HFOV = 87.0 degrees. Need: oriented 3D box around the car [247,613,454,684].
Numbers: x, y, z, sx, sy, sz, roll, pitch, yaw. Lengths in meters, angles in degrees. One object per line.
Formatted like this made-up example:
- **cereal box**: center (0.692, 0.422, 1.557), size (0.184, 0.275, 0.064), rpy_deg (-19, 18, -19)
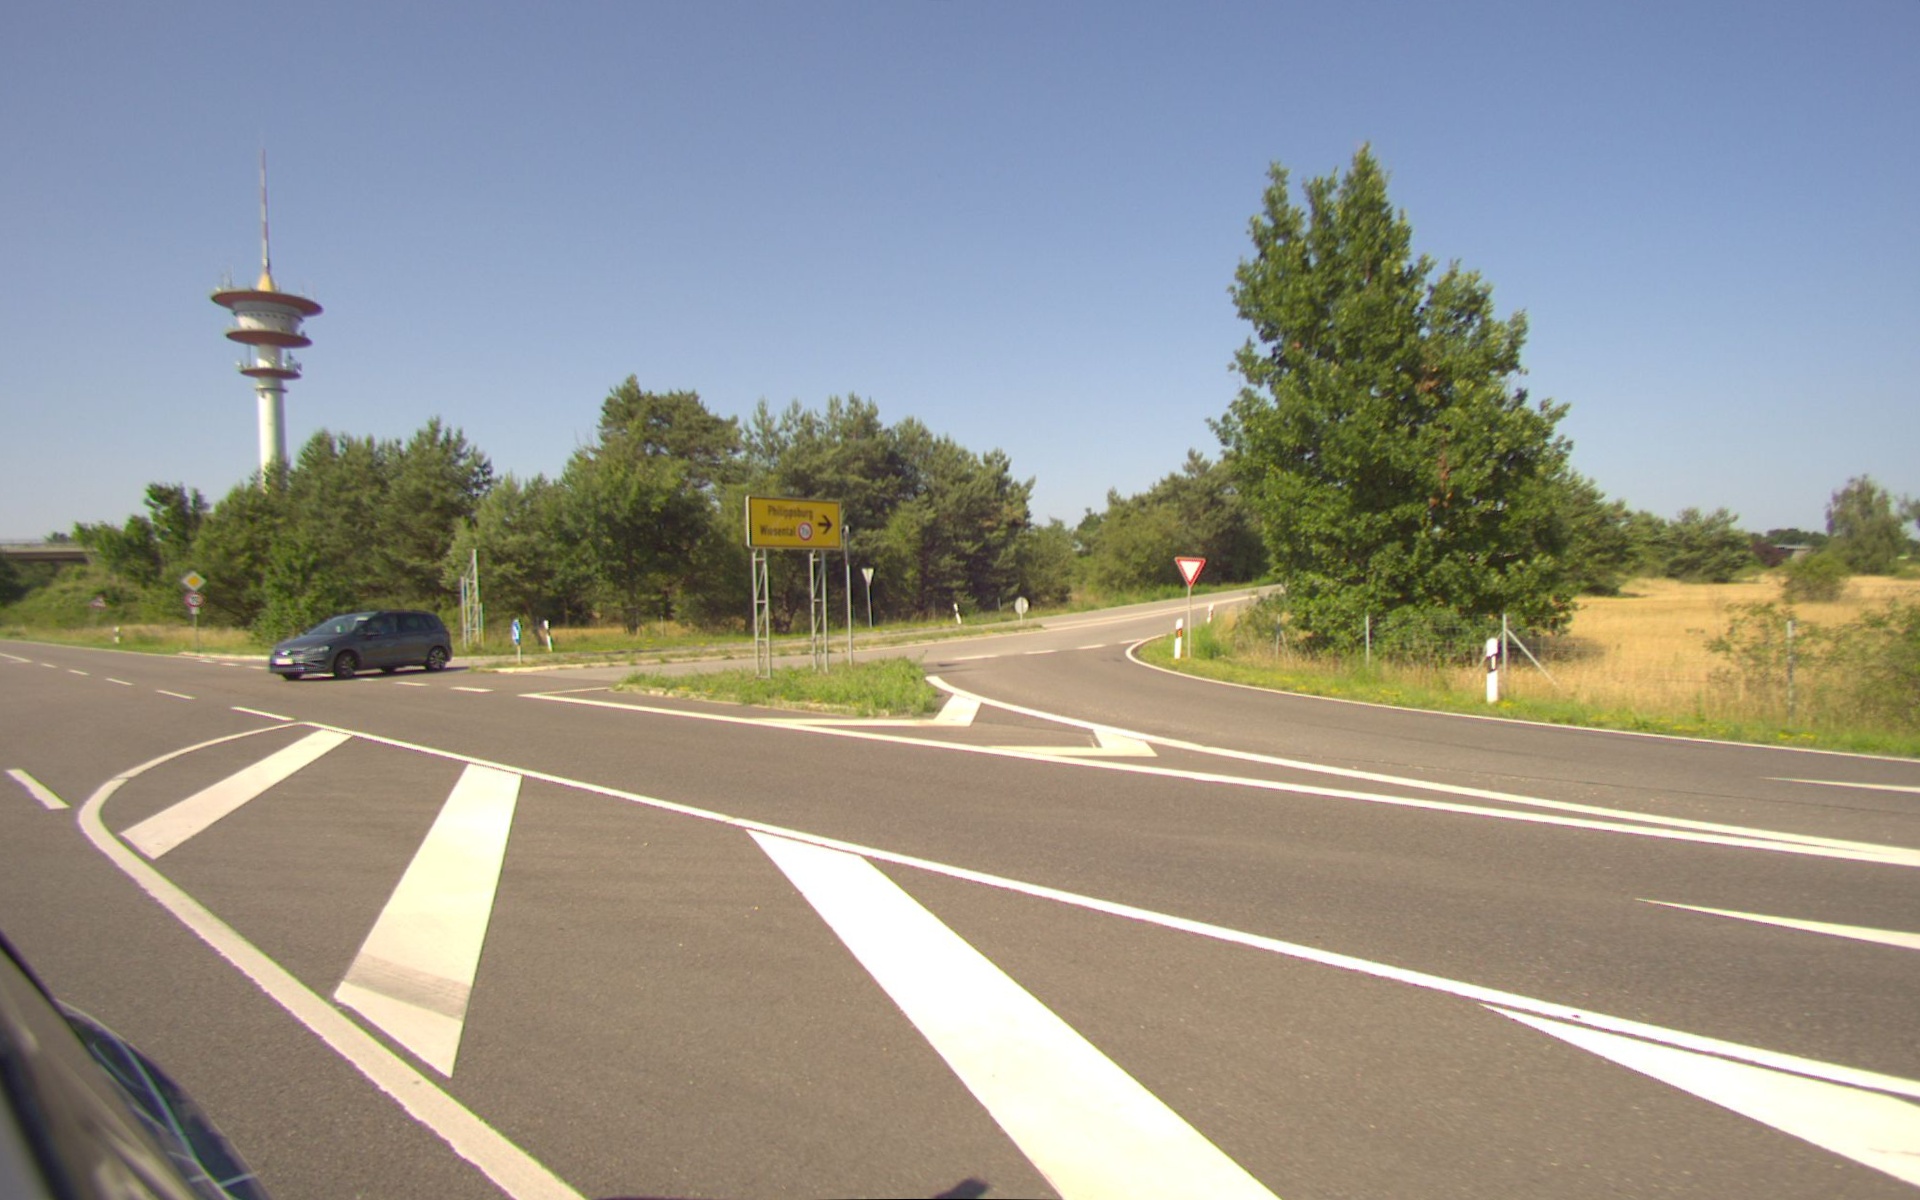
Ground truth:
- **car**: center (-14.524, 1.095, 24.386), size (1.855, 1.553, 4.051), rpy_deg (-1, -1, 19)
